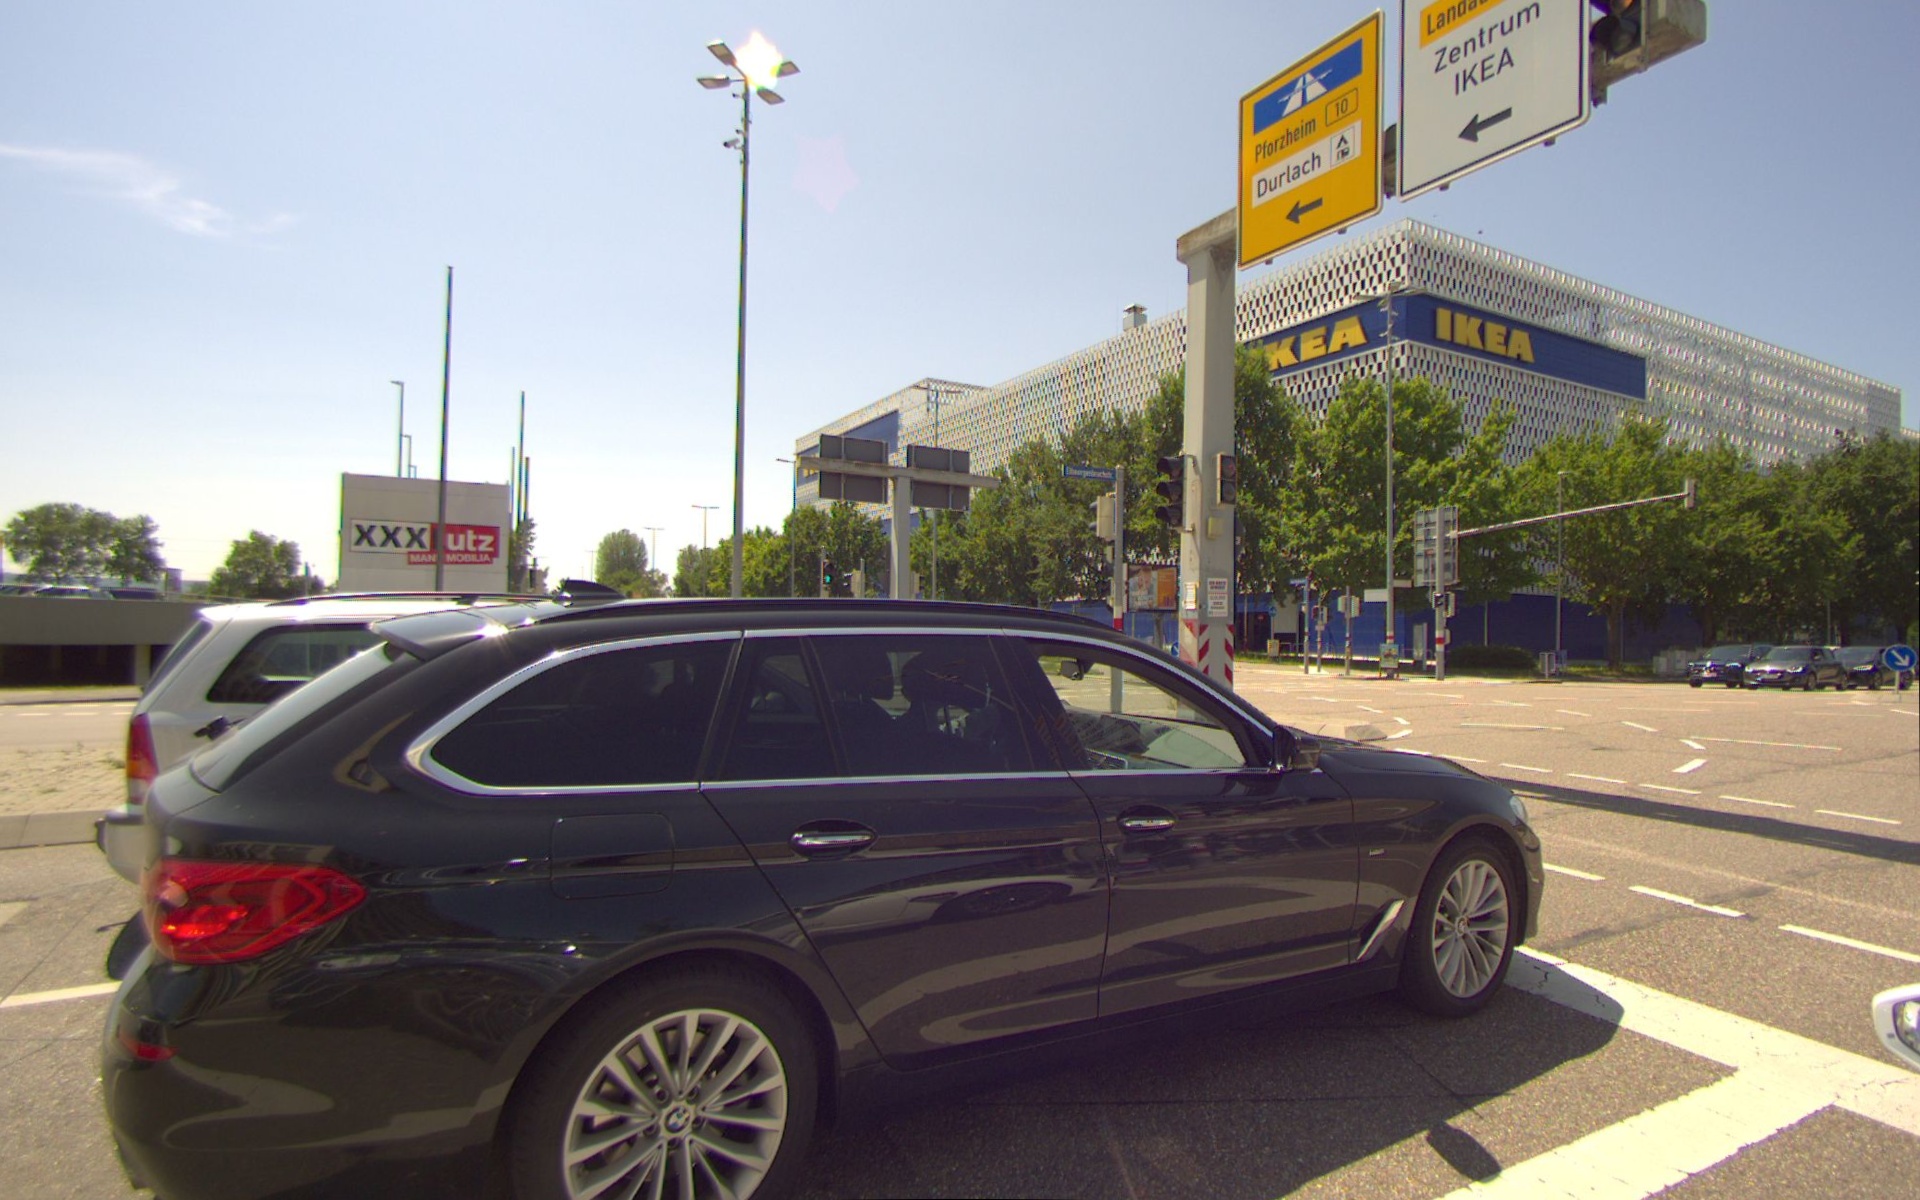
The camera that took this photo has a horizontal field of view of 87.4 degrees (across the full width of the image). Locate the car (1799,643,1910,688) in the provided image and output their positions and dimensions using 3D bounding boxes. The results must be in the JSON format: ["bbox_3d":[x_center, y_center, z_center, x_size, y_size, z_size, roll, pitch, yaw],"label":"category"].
[{"bbox_3d":[32.329,2.374,36.269,4.193,1.524,1.719,3,-4,-30],"label":"car"}]

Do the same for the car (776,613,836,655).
[{"bbox_3d":[-8.511,1.842,55.248,1.973,2.212,5.019,1,-2,-25],"label":"car"}]

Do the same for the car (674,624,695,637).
[{"bbox_3d":[-39.979,4.387,145.666,2.031,1.769,3.860,2,-2,-29],"label":"car"}]

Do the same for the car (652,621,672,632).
[{"bbox_3d":[-42.905,3.815,144.550,1.976,1.572,3.970,2,-2,-29],"label":"car"}]

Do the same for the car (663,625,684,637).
[{"bbox_3d":[-39.070,4.247,136.815,1.975,1.572,3.972,2,-2,-27],"label":"car"}]

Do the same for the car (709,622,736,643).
[{"bbox_3d":[-23.368,3.204,98.641,1.750,2.040,3.813,1,-2,-26],"label":"car"}]

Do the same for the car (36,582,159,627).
[{"bbox_3d":[-42.103,0.264,49.192,4.285,2.040,1.981,2,-2,-34],"label":"car"}]

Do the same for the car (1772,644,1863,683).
[{"bbox_3d":[35.640,2.644,41.735,3.870,1.564,1.718,3,-3,-31],"label":"car"}]

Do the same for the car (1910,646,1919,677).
[{"bbox_3d":[49.007,3.084,49.799,3.954,1.505,1.735,3,-3,-31],"label":"car"}]

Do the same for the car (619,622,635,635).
[{"bbox_3d":[-49.404,4.210,149.151,1.609,1.938,3.471,2,-2,-30],"label":"car"}]

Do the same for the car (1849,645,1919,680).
[{"bbox_3d":[42.412,2.869,45.840,3.870,1.505,1.642,3,-3,-31],"label":"car"}]

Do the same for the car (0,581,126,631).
[{"bbox_3d":[-39.540,0.283,44.070,4.284,2.040,1.982,2,-2,-34],"label":"car"}]

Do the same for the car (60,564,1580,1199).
[{"bbox_3d":[0.056,0.742,3.532,4.505,1.459,1.788,2,-1,-31],"label":"car"}]

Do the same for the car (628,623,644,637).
[{"bbox_3d":[-46.391,4.287,143.680,1.607,1.835,3.474,1,-2,-27],"label":"car"}]

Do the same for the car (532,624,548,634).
[{"bbox_3d":[-64.081,4.404,153.224,1.836,1.528,3.971,2,-2,-28],"label":"car"}]

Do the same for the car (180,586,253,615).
[{"bbox_3d":[-58.190,0.051,78.719,4.278,2.040,1.985,2,-2,-30],"label":"car"}]

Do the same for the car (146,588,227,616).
[{"bbox_3d":[-52.699,0.142,68.561,4.086,1.764,1.770,2,-2,-30],"label":"car"}]

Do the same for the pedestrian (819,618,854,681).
[{"bbox_3d":[-3.588,1.438,29.152,0.816,1.807,0.601,2,-2,-27],"label":"pedestrian"}]

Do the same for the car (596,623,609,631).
[{"bbox_3d":[-60.674,4.547,170.421,1.608,1.368,3.472,2,-2,-29],"label":"car"}]

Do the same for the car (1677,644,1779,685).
[{"bbox_3d":[28.683,2.417,37.474,3.992,1.442,1.653,3,-3,-31],"label":"car"}]

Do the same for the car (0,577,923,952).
[{"bbox_3d":[-2.349,0.659,5.540,3.959,1.441,1.685,1,0,-29],"label":"car"}]

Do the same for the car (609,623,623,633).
[{"bbox_3d":[-55.390,4.541,161.782,1.608,1.629,3.471,2,-2,-29],"label":"car"}]

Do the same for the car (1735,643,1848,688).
[{"bbox_3d":[27.226,2.164,32.882,3.671,1.407,1.637,3,-4,-30],"label":"car"}]
